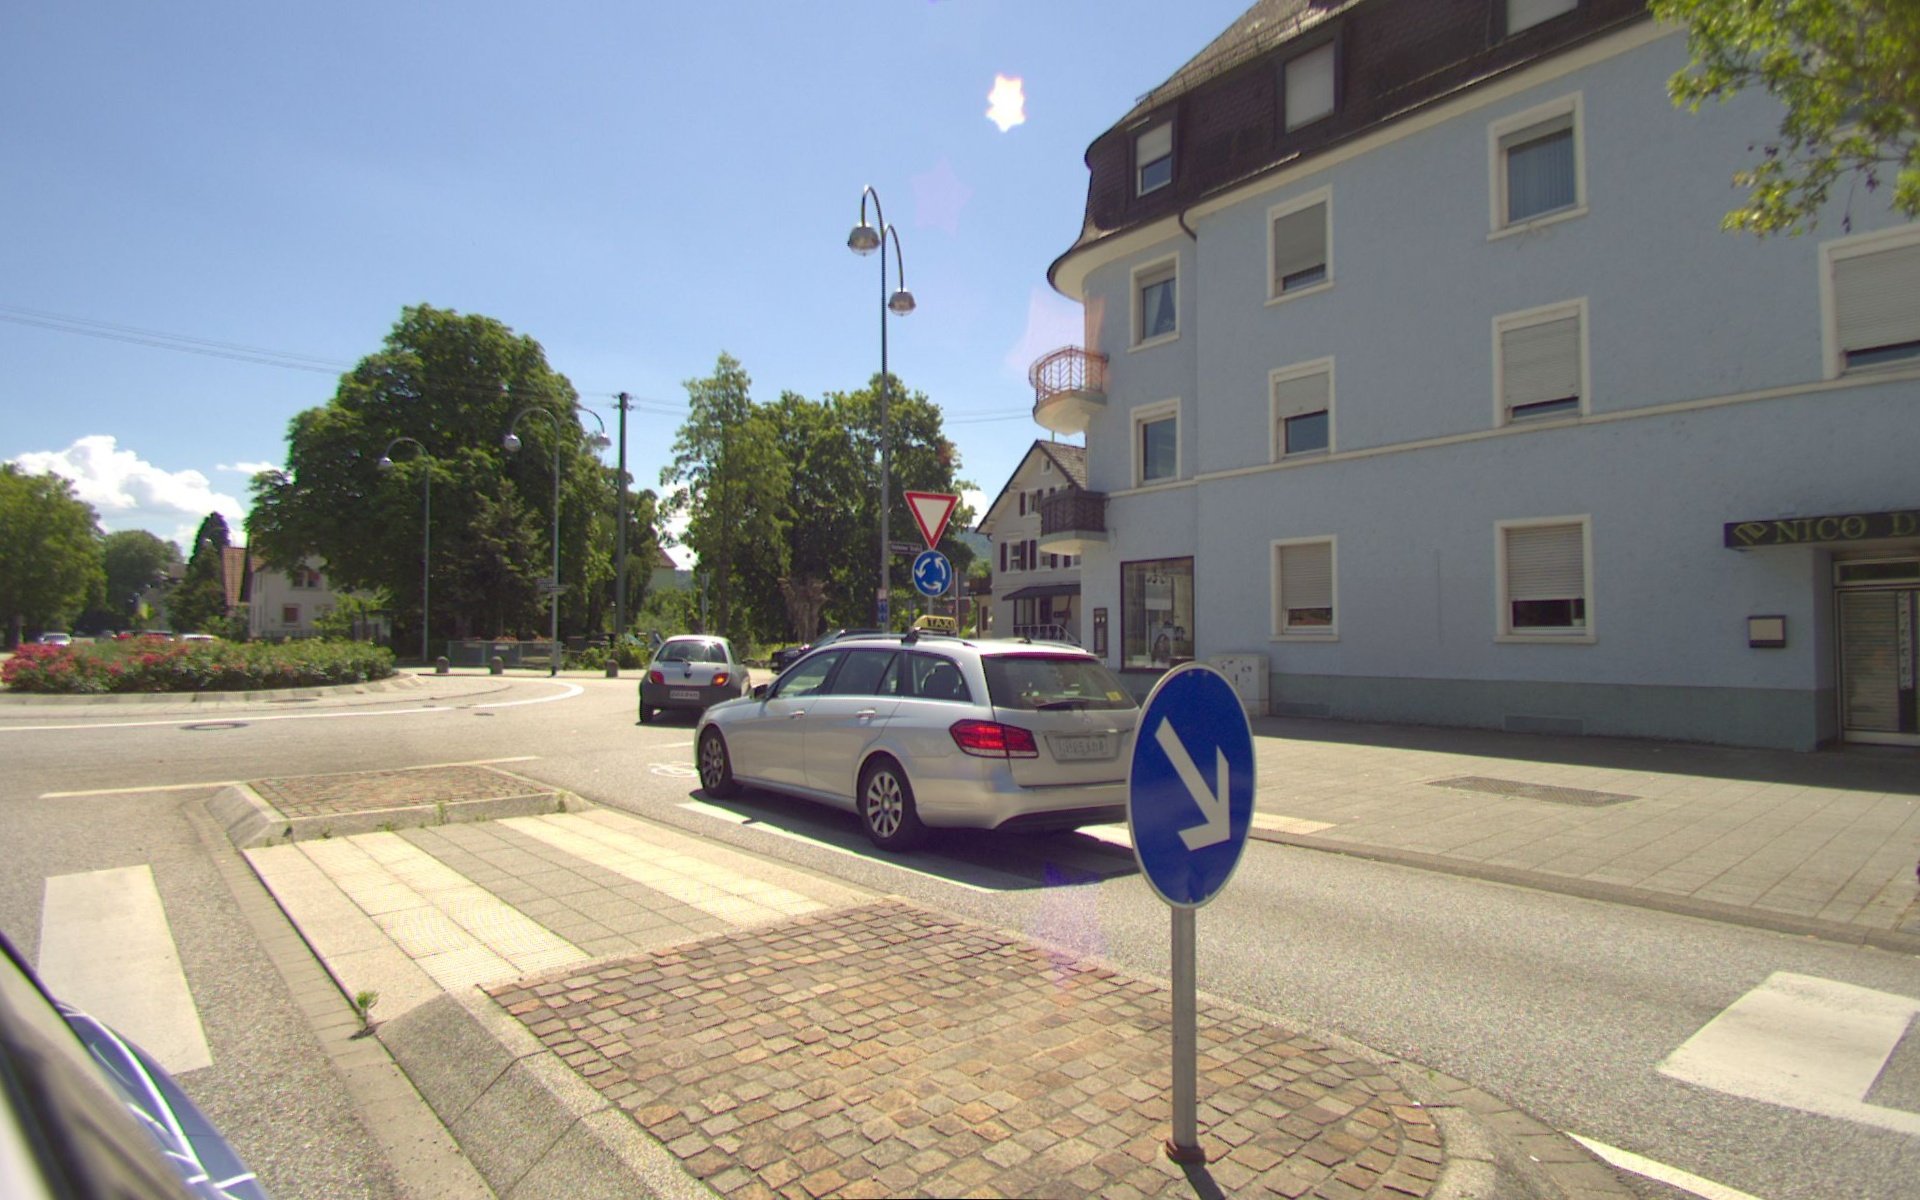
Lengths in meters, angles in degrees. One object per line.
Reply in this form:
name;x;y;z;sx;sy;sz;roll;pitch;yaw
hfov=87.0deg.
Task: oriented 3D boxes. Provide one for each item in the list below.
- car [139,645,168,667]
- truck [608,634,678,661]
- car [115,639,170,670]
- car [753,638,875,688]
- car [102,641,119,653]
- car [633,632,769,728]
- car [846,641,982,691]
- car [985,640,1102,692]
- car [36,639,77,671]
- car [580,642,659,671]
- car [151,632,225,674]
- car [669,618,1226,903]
car;-79.961;5.567;100.359;1.969;2.029;4.005;4;-7;-41
truck;-30.493;4.570;97.545;6.118;2.462;2.269;1;-6;-9
car;-44.363;2.959;54.876;1.969;1.574;4.170;6;-6;-42
car;-4.771;2.032;33.136;3.534;1.558;1.759;2;-3;-34
car;-131.293;7.304;156.458;1.714;1.719;4.003;2;-5;-44
car;-4.391;1.360;17.660;1.679;1.469;3.793;1;-4;-5
car;-1.561;2.364;35.423;4.546;1.597;1.951;4;-7;-40
car;2.679;2.053;31.484;1.990;1.489;4.664;-1;-4;27
car;-62.699;3.841;70.297;1.969;2.029;4.005;4;-7;-41
car;-19.318;3.208;57.447;3.968;1.614;1.831;-1;-3;19
car;-33.161;2.224;43.444;4.290;1.392;1.905;3;2;44
car;-0.472;1.059;8.343;1.967;1.605;5.009;4;-5;-37
